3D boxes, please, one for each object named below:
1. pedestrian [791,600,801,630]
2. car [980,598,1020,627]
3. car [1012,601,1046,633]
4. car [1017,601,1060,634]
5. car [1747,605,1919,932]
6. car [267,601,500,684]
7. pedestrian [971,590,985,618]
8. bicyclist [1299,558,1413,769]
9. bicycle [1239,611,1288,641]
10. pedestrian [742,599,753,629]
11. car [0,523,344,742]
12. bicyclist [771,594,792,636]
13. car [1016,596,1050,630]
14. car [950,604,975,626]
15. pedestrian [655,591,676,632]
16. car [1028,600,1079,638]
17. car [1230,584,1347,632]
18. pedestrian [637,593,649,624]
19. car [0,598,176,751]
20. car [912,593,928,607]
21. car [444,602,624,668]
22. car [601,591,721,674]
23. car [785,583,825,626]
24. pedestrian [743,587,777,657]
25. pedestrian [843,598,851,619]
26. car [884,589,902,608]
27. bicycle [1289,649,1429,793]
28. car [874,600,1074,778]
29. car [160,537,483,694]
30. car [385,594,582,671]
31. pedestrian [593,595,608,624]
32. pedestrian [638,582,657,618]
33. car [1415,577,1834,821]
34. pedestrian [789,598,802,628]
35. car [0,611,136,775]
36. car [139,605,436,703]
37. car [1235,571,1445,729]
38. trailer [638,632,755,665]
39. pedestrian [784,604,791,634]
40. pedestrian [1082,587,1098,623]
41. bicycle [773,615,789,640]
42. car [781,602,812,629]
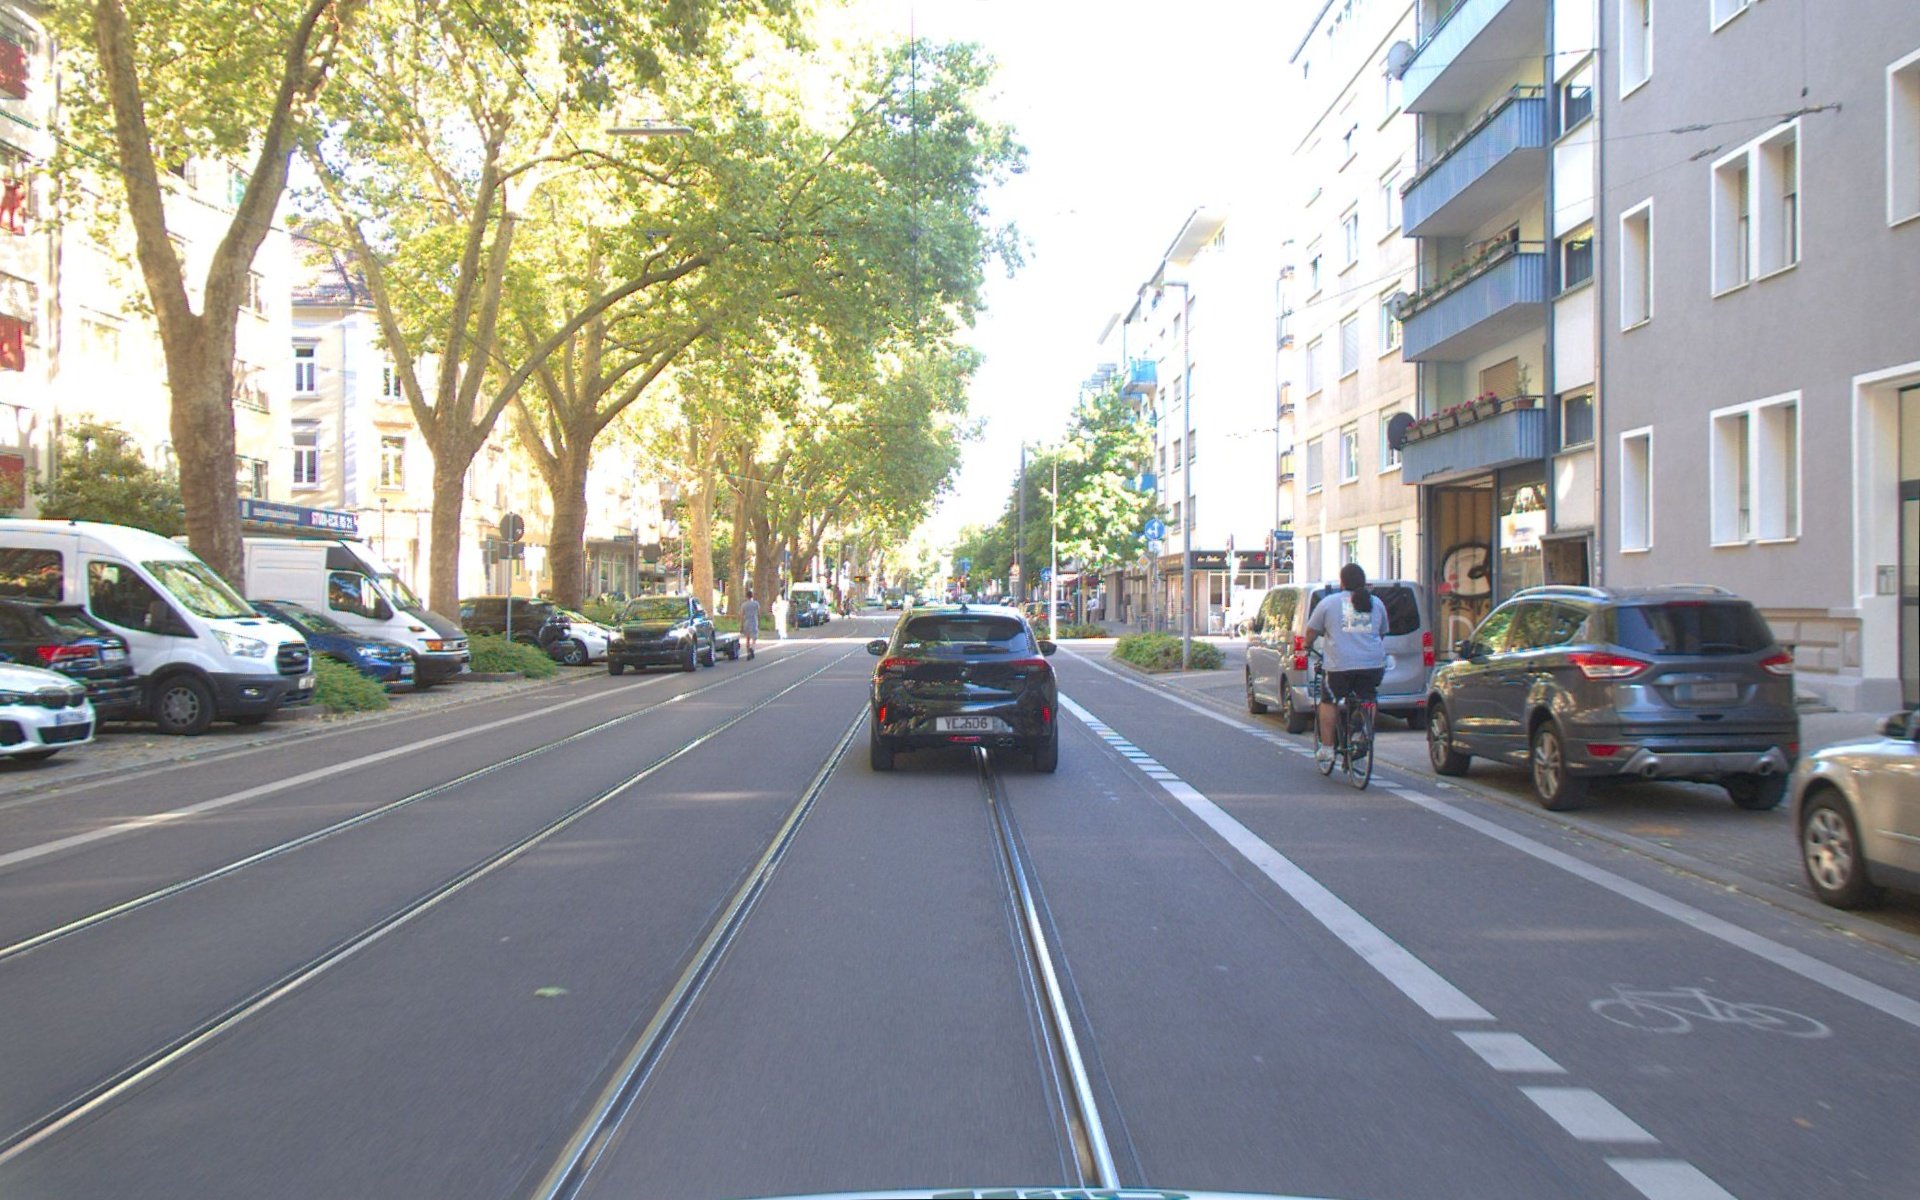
[{"bbox_3d":[-8.745,0.808,88.281,0.496,1.610,0.526,0,0,-1],"label":"pedestrian"},{"bbox_3d":[2.316,0.700,96.626,1.954,1.668,3.996,0,0,-5],"label":"car"},{"bbox_3d":[3.558,0.859,85.682,1.682,1.601,3.682,0,0,1],"label":"car"},{"bbox_3d":[3.658,0.808,77.715,1.683,1.516,3.680,0,0,-2],"label":"car"},{"bbox_3d":[5.429,0.809,7.435,1.689,1.552,4.513,0,0,1],"label":"car"},{"bbox_3d":[-10.884,0.780,31.429,3.777,1.504,1.860,0,0,-2],"label":"car"},{"bbox_3d":[1.347,0.295,122.769,0.839,2.048,1.069,-4,-1,0],"label":"pedestrian"},{"bbox_3d":[3.455,0.539,14.488,0.770,1.790,0.914,0,0,-1],"label":"bicyclist"},{"bbox_3d":[11.679,1.013,63.668,1.797,1.136,0.703,0,0,2],"label":"bicycle"},{"bbox_3d":[-11.352,0.756,88.453,0.499,1.610,0.524,0,0,-19],"label":"pedestrian"},{"bbox_3d":[-10.514,0.373,20.115,5.251,2.521,2.056,0,0,-1],"label":"car"},{"bbox_3d":[-7.249,0.609,67.194,0.769,1.707,0.957,0,0,-3],"label":"bicyclist"},{"bbox_3d":[3.589,0.625,81.683,1.617,1.601,3.084,0,0,1],"label":"car"},{"bbox_3d":[0.208,1.127,129.219,1.820,1.680,4.000,0,0,1],"label":"car"},{"bbox_3d":[-13.880,0.544,77.939,0.887,1.902,0.643,0,0,-7],"label":"pedestrian"},{"bbox_3d":[4.037,0.796,72.274,1.684,1.601,4.081,0,0,-5],"label":"car"},{"bbox_3d":[13.254,0.313,66.961,4.273,1.863,1.998,0,0,-5],"label":"car"},{"bbox_3d":[-17.143,0.452,89.448,0.540,1.681,0.649,0,0,3],"label":"pedestrian"},{"bbox_3d":[-11.085,0.762,17.906,4.282,1.566,1.872,0,0,-1],"label":"car"},{"bbox_3d":[-4.753,-0.004,197.882,1.714,1.680,4.000,0,0,1],"label":"car"},{"bbox_3d":[-10.257,0.824,40.034,3.907,1.548,1.770,0,0,-2],"label":"car"},{"bbox_3d":[-6.741,0.696,37.747,1.953,1.730,4.483,-2,0,-1],"label":"car"},{"bbox_3d":[-9.778,0.249,104.514,2.050,2.629,5.995,0,0,-1],"label":"car"},{"bbox_3d":[-5.167,0.564,42.723,0.699,1.765,0.909,-2,0,-15],"label":"pedestrian"},{"bbox_3d":[-8.702,0.640,127.225,0.583,1.618,0.892,0,0,-8],"label":"pedestrian"},{"bbox_3d":[-8.082,-0.164,199.817,1.954,2.250,5.097,0,0,-5],"label":"car"},{"bbox_3d":[3.450,1.020,14.480,0.687,1.111,1.989,2,-1,-1],"label":"bicycle"},{"bbox_3d":[0.081,0.751,15.670,1.646,1.447,3.626,1,0,-1],"label":"car"},{"bbox_3d":[-11.028,0.249,28.881,4.846,2.612,2.081,0,0,-4],"label":"car"},{"bbox_3d":[-10.693,0.719,37.340,3.907,1.676,1.893,0,0,-2],"label":"car"},{"bbox_3d":[-17.867,0.464,82.233,0.540,1.427,0.649,0,0,3],"label":"pedestrian"},{"bbox_3d":[-14.579,-0.007,77.116,0.830,1.661,0.643,0,0,-7],"label":"pedestrian"},{"bbox_3d":[5.345,0.703,13.973,1.731,1.734,4.281,0,0,-2],"label":"car"},{"bbox_3d":[-8.869,0.695,89.035,0.670,1.610,0.557,0,0,-3],"label":"pedestrian"},{"bbox_3d":[-10.284,0.815,15.313,4.320,1.409,1.933,0,0,-1],"label":"car"},{"bbox_3d":[-10.585,0.828,26.244,3.937,1.491,1.872,0,0,0],"label":"car"},{"bbox_3d":[5.067,0.613,22.714,1.820,1.923,4.925,0,0,1],"label":"car"},{"bbox_3d":[-6.770,1.232,43.197,2.117,0.643,6.399,0,0,-1],"label":"trailer"},{"bbox_3d":[-9.235,1.030,88.351,0.339,1.610,0.508,0,0,-2],"label":"pedestrian"},{"bbox_3d":[6.499,0.263,82.593,0.751,1.779,0.796,0,0,6],"label":"pedestrian"},{"bbox_3d":[-7.274,1.115,67.242,0.510,0.979,1.928,0,0,-2],"label":"bicycle"},{"bbox_3d":[-9.736,0.893,98.421,1.719,1.534,3.997,0,0,-4],"label":"car"}]
